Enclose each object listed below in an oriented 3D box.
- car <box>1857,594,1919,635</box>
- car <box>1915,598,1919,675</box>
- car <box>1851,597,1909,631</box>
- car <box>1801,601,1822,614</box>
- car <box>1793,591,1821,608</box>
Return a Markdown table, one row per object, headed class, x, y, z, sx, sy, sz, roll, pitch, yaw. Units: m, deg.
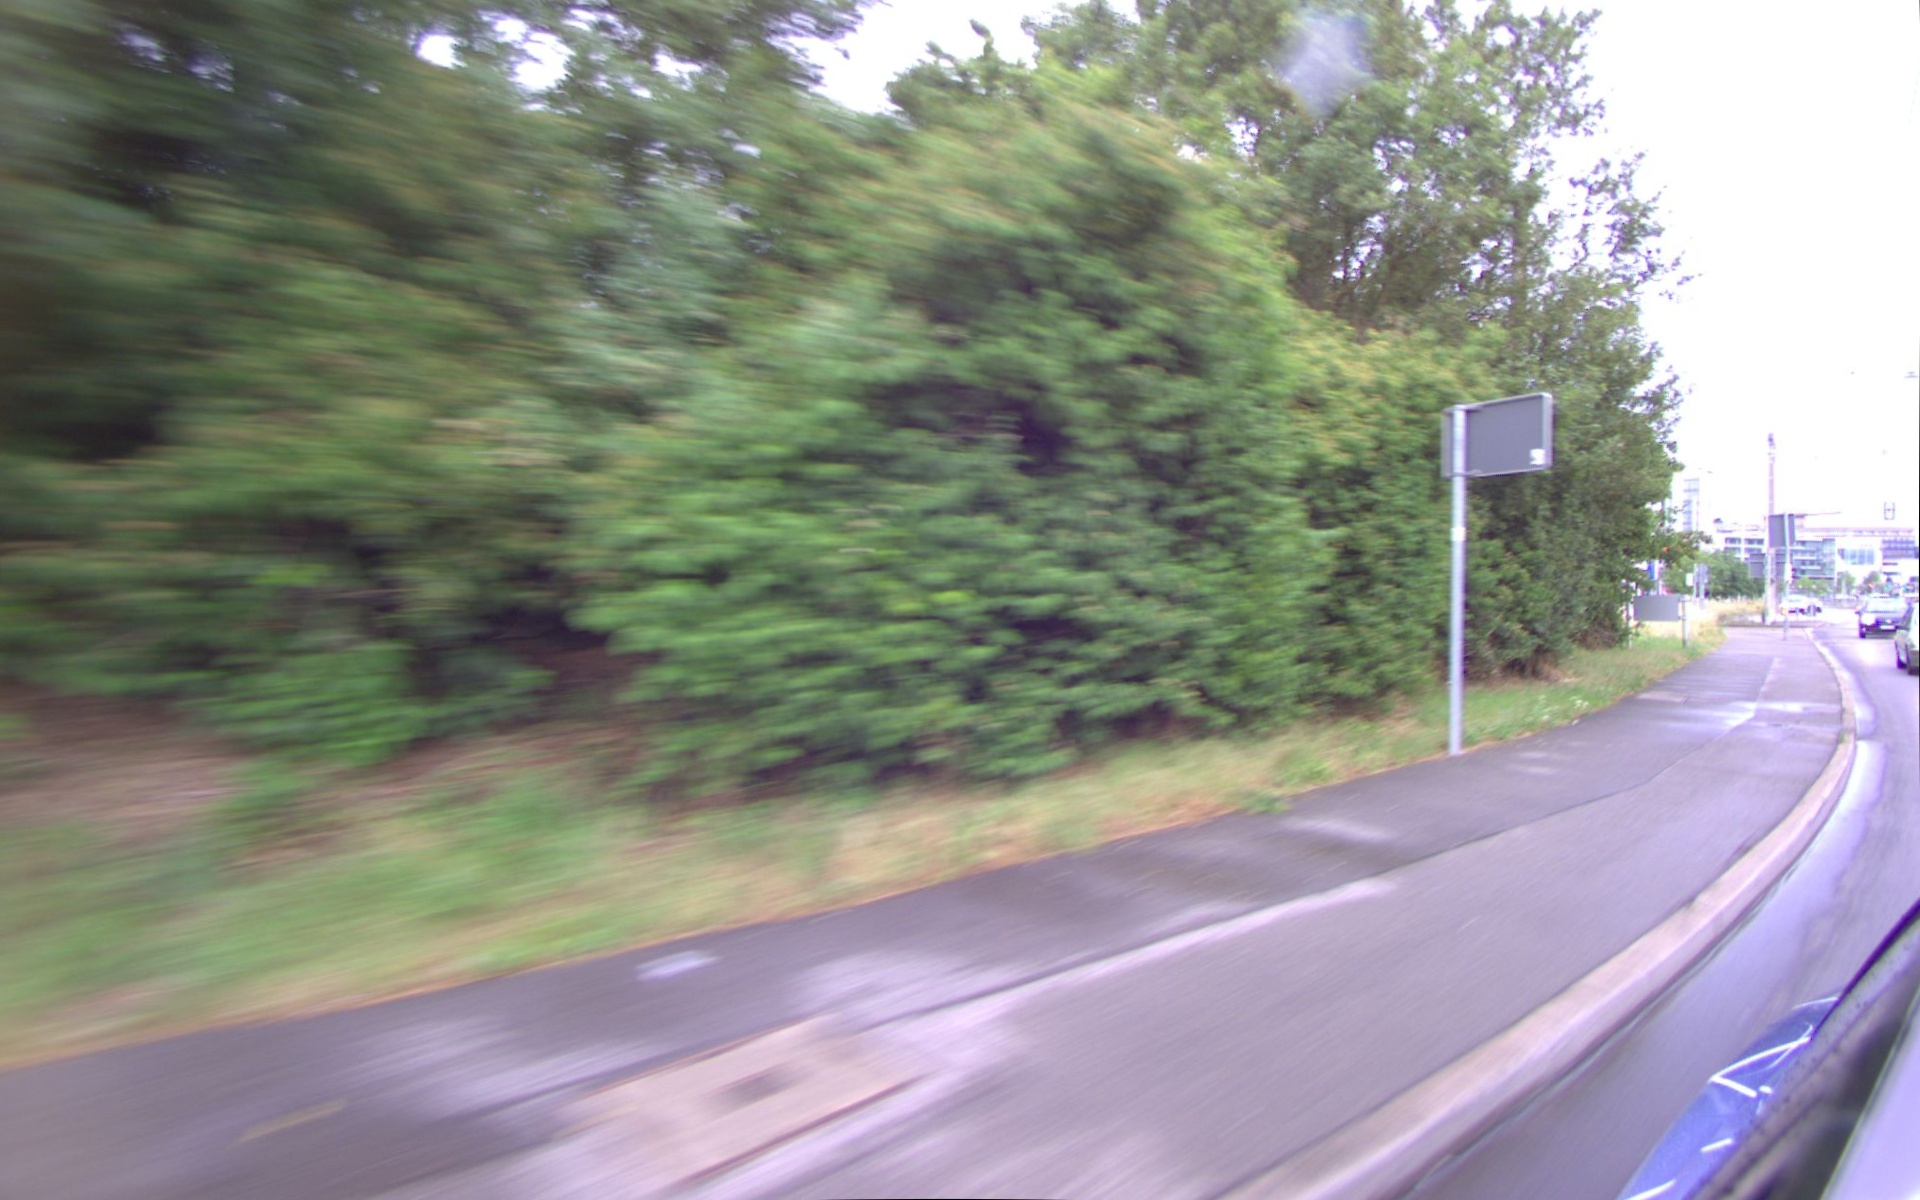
| class | x | y | z | sx | sy | sz | roll | pitch | yaw |
| --- | --- | --- | --- | --- | --- | --- | --- | --- | --- |
| car | 36.439 | 0.539 | 39.658 | 1.776 | 1.521 | 3.936 | -1 | 0 | 44 |
| car | 21.045 | 0.715 | 20.723 | 3.930 | 1.520 | 1.779 | -1 | 2 | -41 |
| car | 46.706 | 0.691 | 51.358 | 1.993 | 1.592 | 3.936 | -3 | -1 | 44 |
| car | 94.299 | 0.808 | 112.063 | 1.695 | 1.456 | 3.908 | 0 | 0 | 40 |
| car | 79.920 | -0.034 | 95.478 | 1.985 | 1.559 | 4.050 | 0 | 0 | 40 |
